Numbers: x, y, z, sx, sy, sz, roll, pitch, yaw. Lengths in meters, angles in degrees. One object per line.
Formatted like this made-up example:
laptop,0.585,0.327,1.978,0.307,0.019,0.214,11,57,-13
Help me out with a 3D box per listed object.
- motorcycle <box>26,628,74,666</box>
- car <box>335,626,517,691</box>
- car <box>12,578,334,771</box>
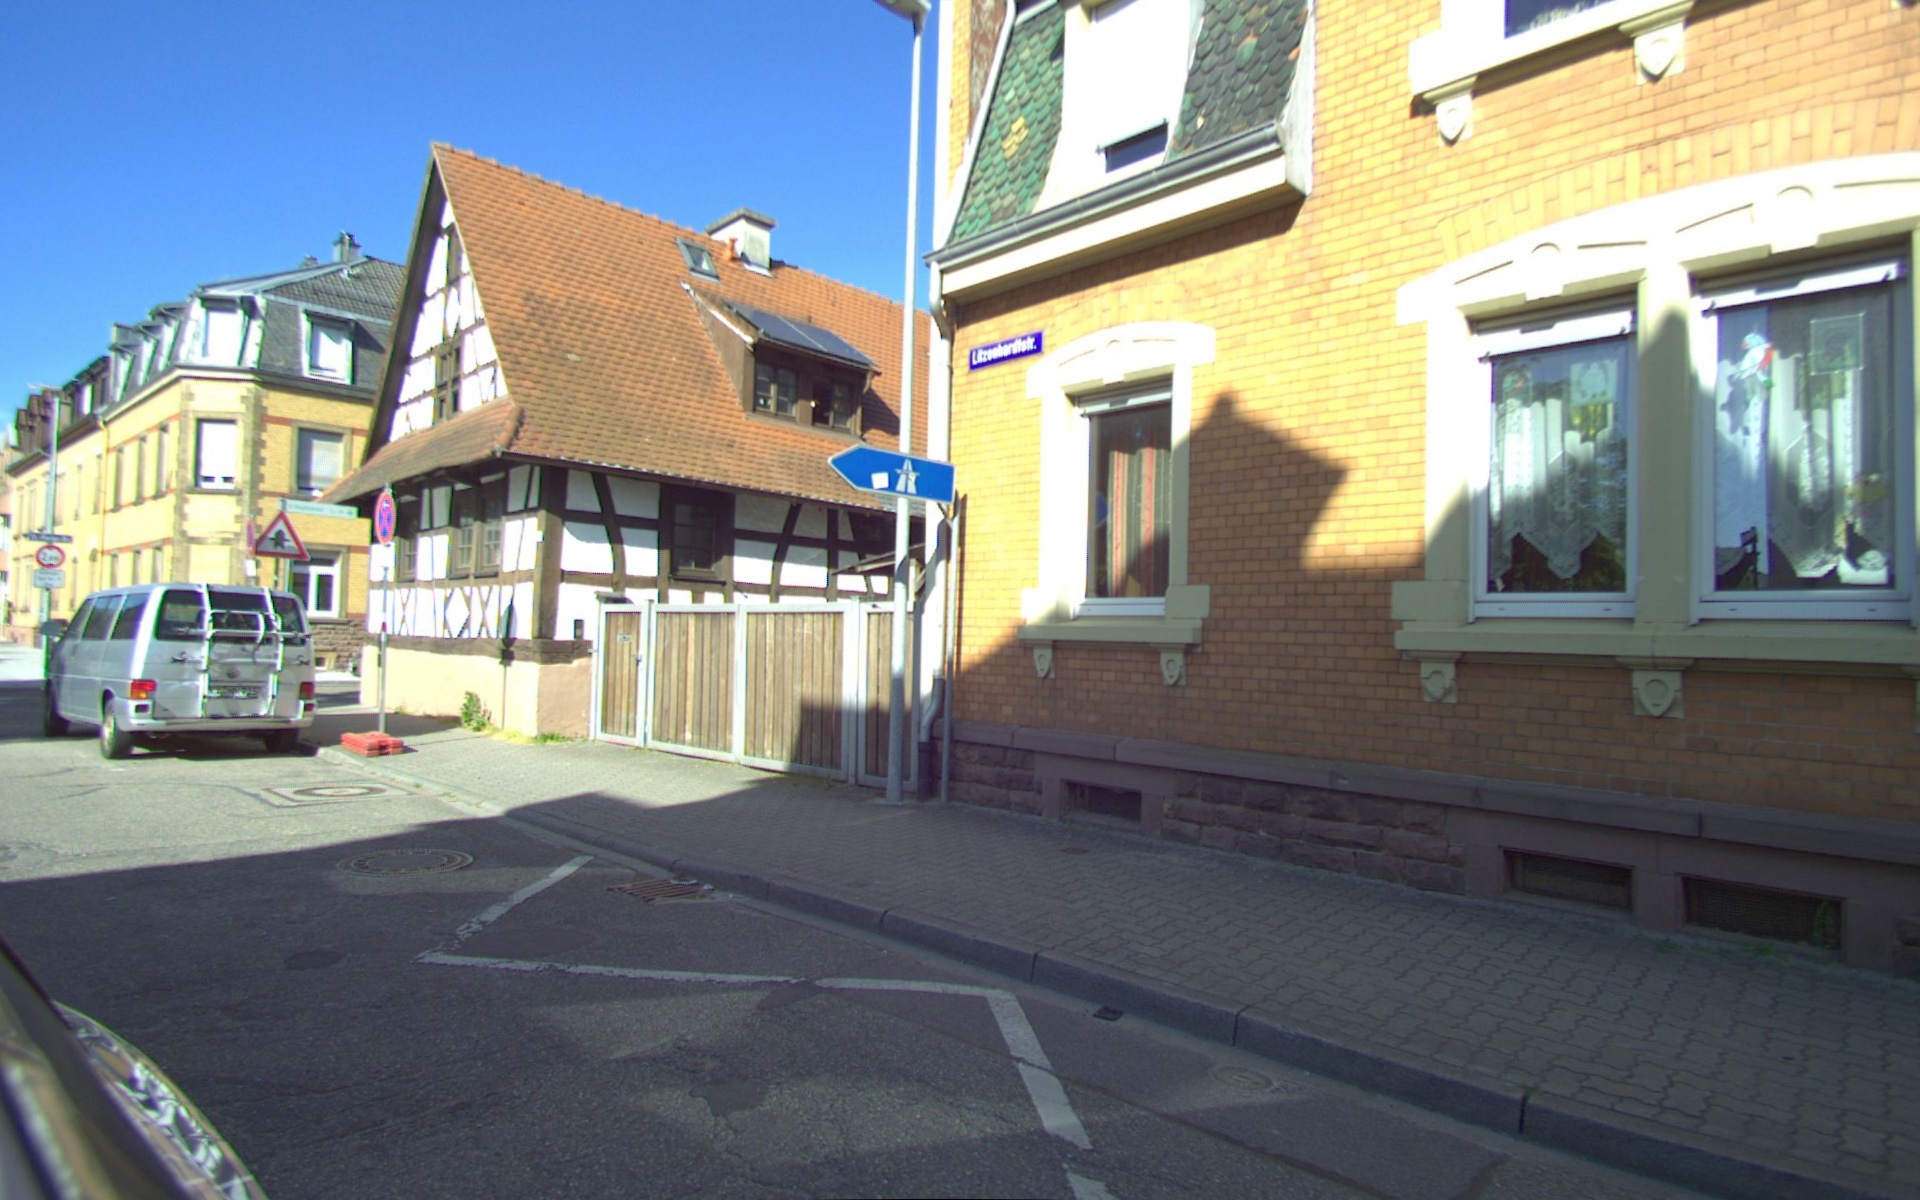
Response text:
motorcycle,-31.894,1.615,35.468,2.254,1.262,0.838,-1,0,37
car,-14.288,1.583,27.205,3.954,1.556,1.718,4,-1,-42
car,-9.617,0.806,12.221,4.829,1.895,1.857,-1,-4,38
